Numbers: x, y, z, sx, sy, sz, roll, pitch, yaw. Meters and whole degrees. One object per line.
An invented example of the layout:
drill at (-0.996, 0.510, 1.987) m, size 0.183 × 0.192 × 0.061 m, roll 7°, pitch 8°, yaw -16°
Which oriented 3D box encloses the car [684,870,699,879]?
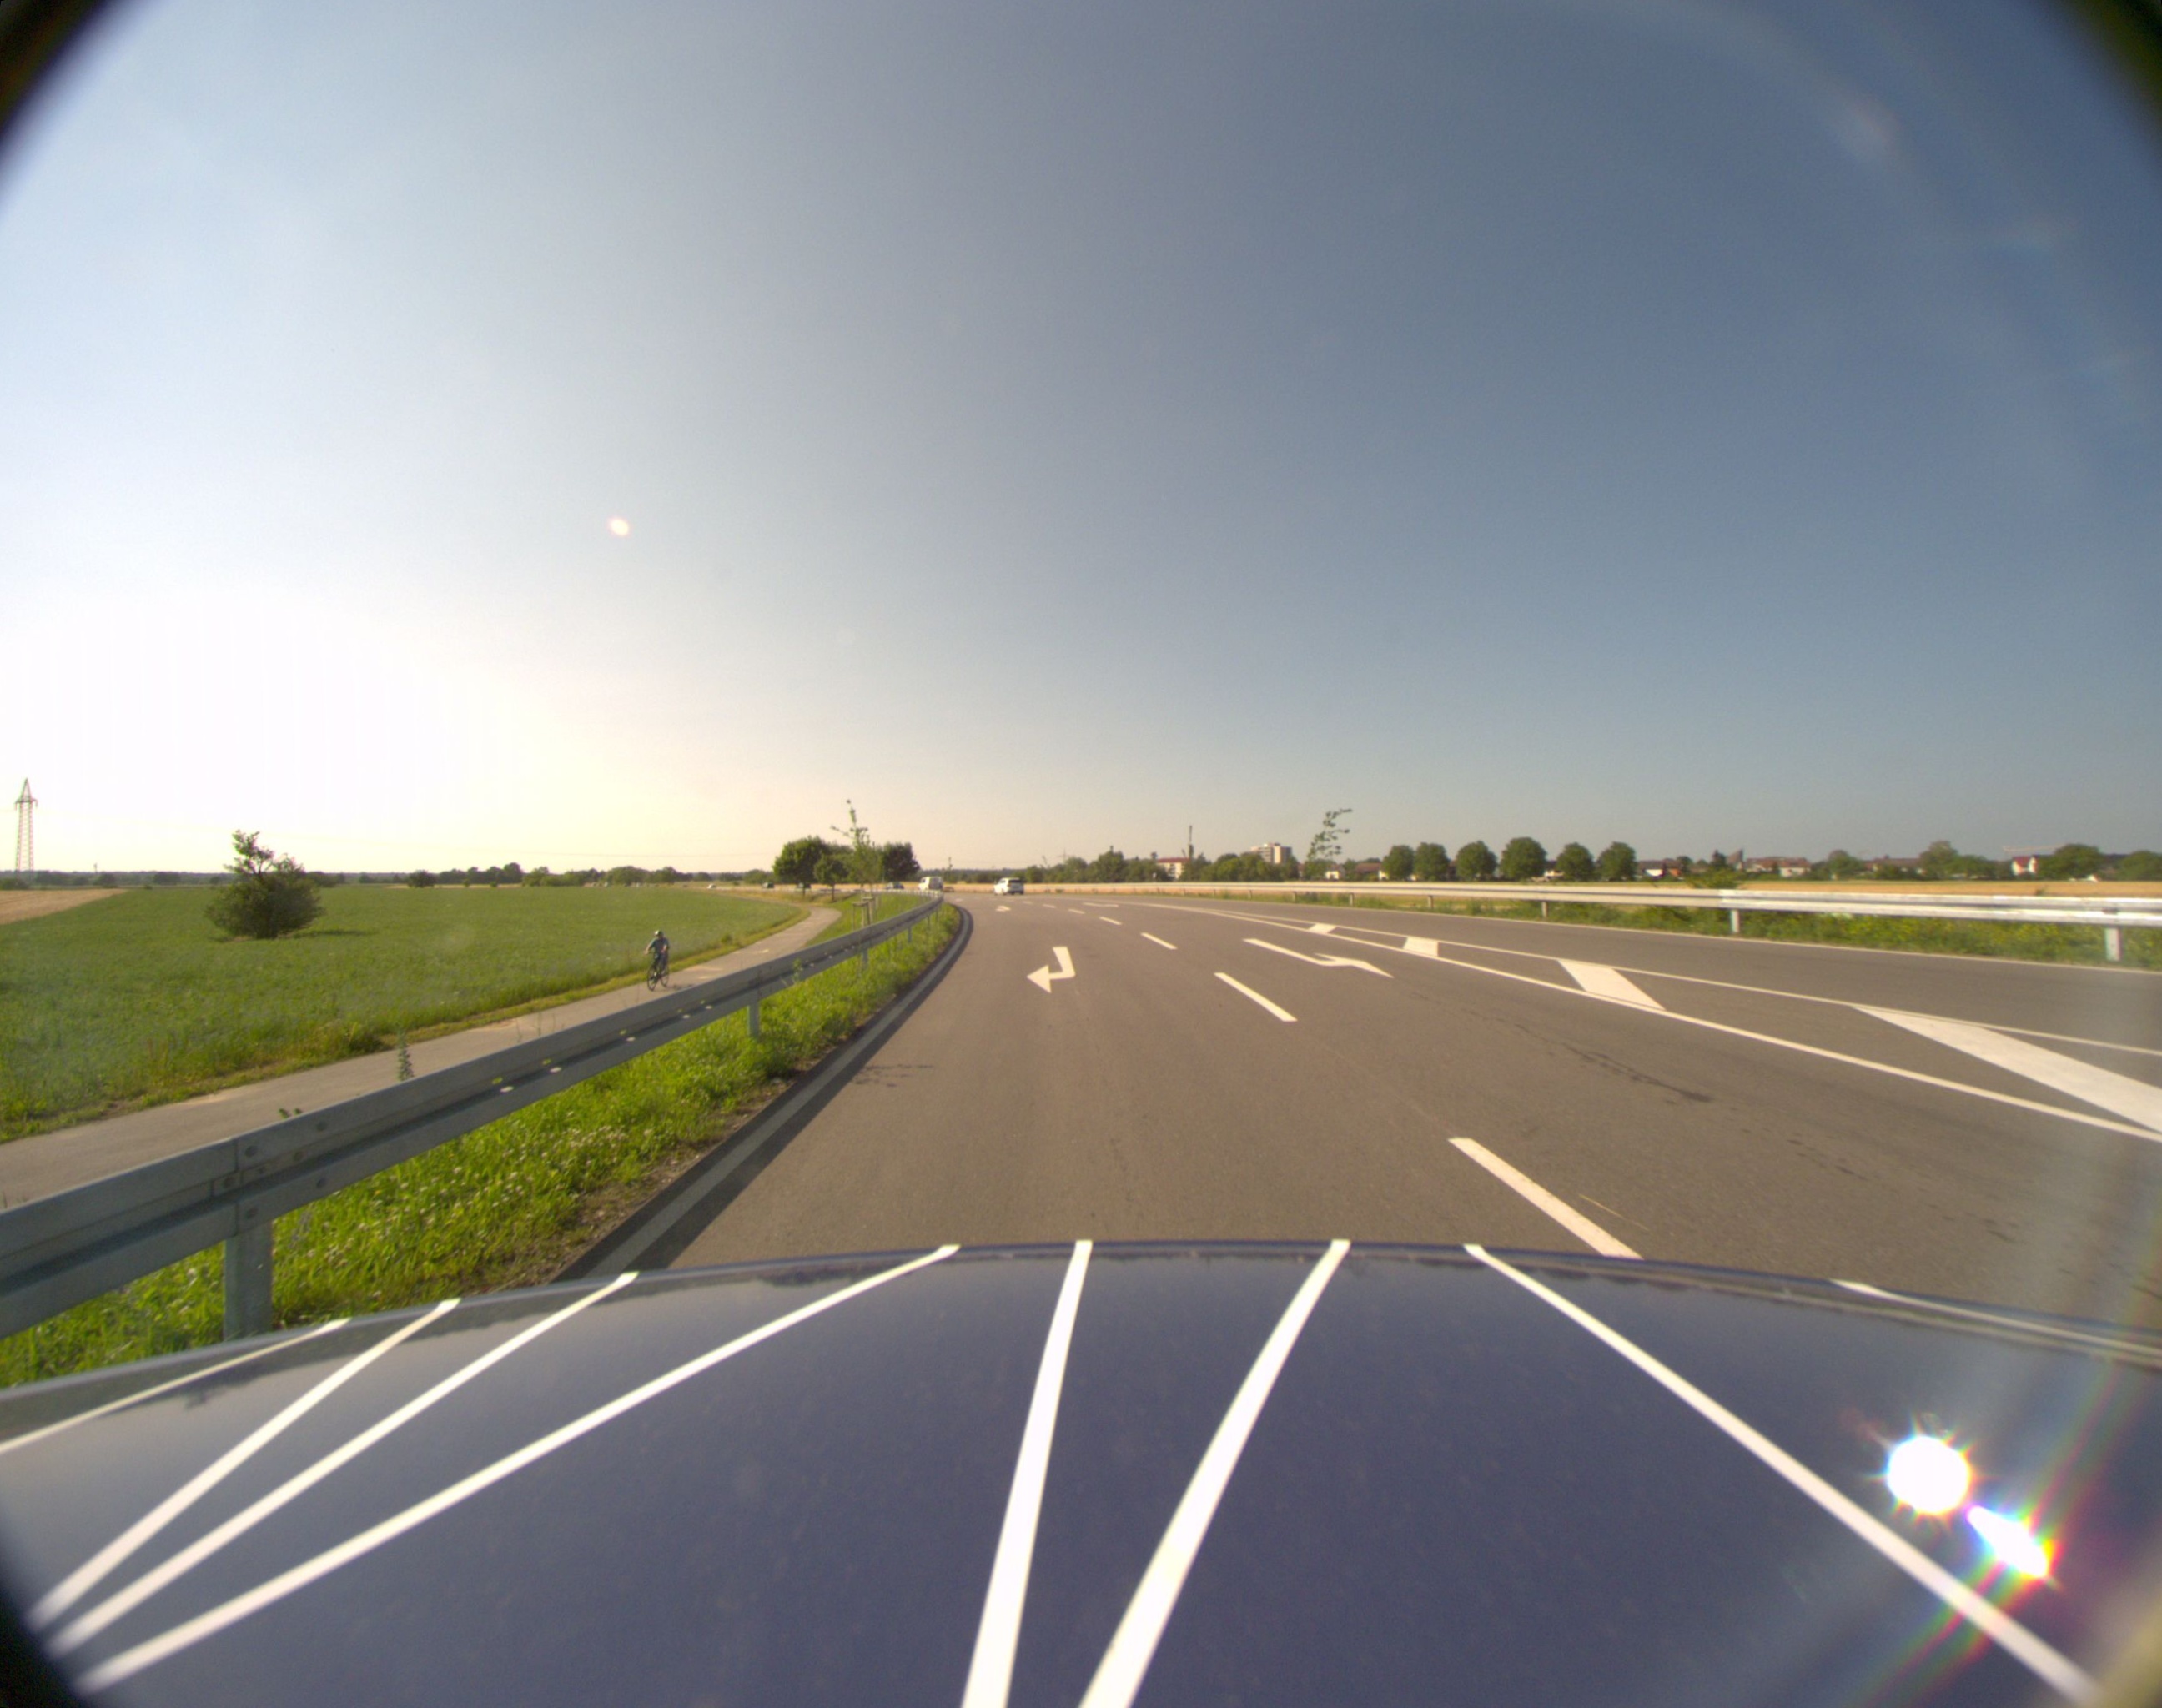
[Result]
car at (-99.631, 5.263, 194.446) m, size 2.822 × 2.002 × 6.088 m, roll -2°, pitch 0°, yaw -32°

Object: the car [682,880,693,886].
car at (-119.346, 8.776, 230.475) m, size 1.847 × 1.535 × 4.233 m, roll -3°, pitch 1°, yaw -40°

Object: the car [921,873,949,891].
car at (-18.786, 3.614, 97.597) m, size 2.125 × 2.000 × 5.145 m, roll -2°, pitch -3°, yaw -27°

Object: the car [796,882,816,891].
car at (-52.698, 6.278, 145.671) m, size 2.004 × 1.583 × 4.851 m, roll -1°, pitch -2°, yaw -39°

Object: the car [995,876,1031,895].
car at (-6.091, 2.828, 67.232) m, size 2.123 × 1.483 × 5.149 m, roll -2°, pitch -3°, yaw -16°

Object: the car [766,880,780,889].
car at (-65.956, 6.509, 162.735) m, size 1.891 × 1.787 × 5.079 m, roll -2°, pitch 1°, yaw -30°

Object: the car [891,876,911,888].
car at (-25.690, 4.062, 108.407) m, size 1.803 × 1.439 × 4.699 m, roll -2°, pitch -3°, yaw -26°
